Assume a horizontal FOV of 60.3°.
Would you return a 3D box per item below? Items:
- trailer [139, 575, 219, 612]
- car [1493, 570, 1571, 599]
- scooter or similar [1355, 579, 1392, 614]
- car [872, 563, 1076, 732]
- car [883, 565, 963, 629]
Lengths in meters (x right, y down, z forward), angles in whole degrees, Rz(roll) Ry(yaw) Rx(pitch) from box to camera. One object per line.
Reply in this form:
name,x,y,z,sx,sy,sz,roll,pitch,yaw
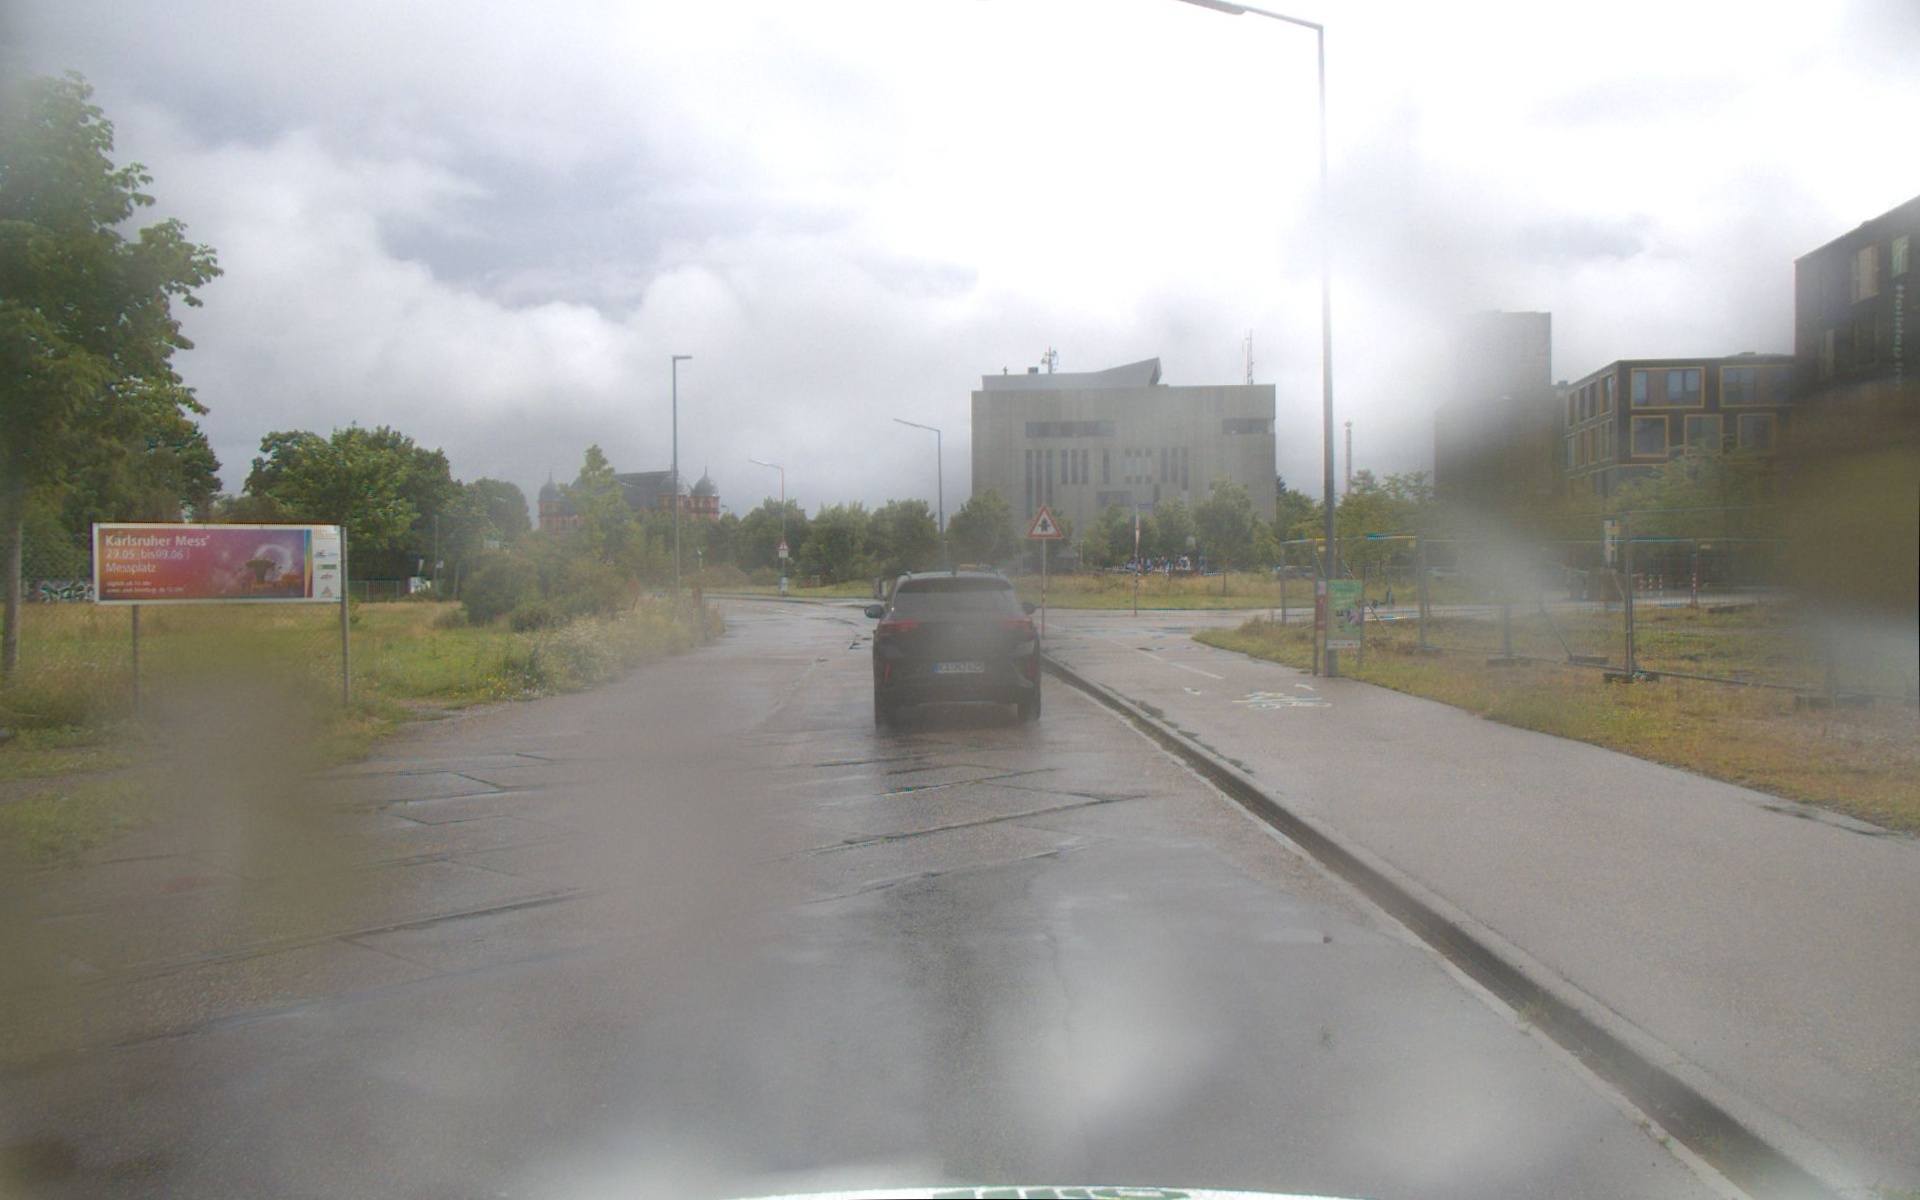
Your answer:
trailer,-45.737,-0.380,96.896,4.063,2.126,1.823,0,0,-34
car,33.896,-0.933,98.113,4.115,1.584,1.668,-2,0,11
scooter or similar,15.222,-0.145,60.875,1.262,1.207,0.500,-3,3,-23
car,0.039,0.419,18.279,1.947,1.546,3.998,-3,2,-3
car,-0.998,-0.098,42.543,1.805,1.467,3.997,-3,1,-4
